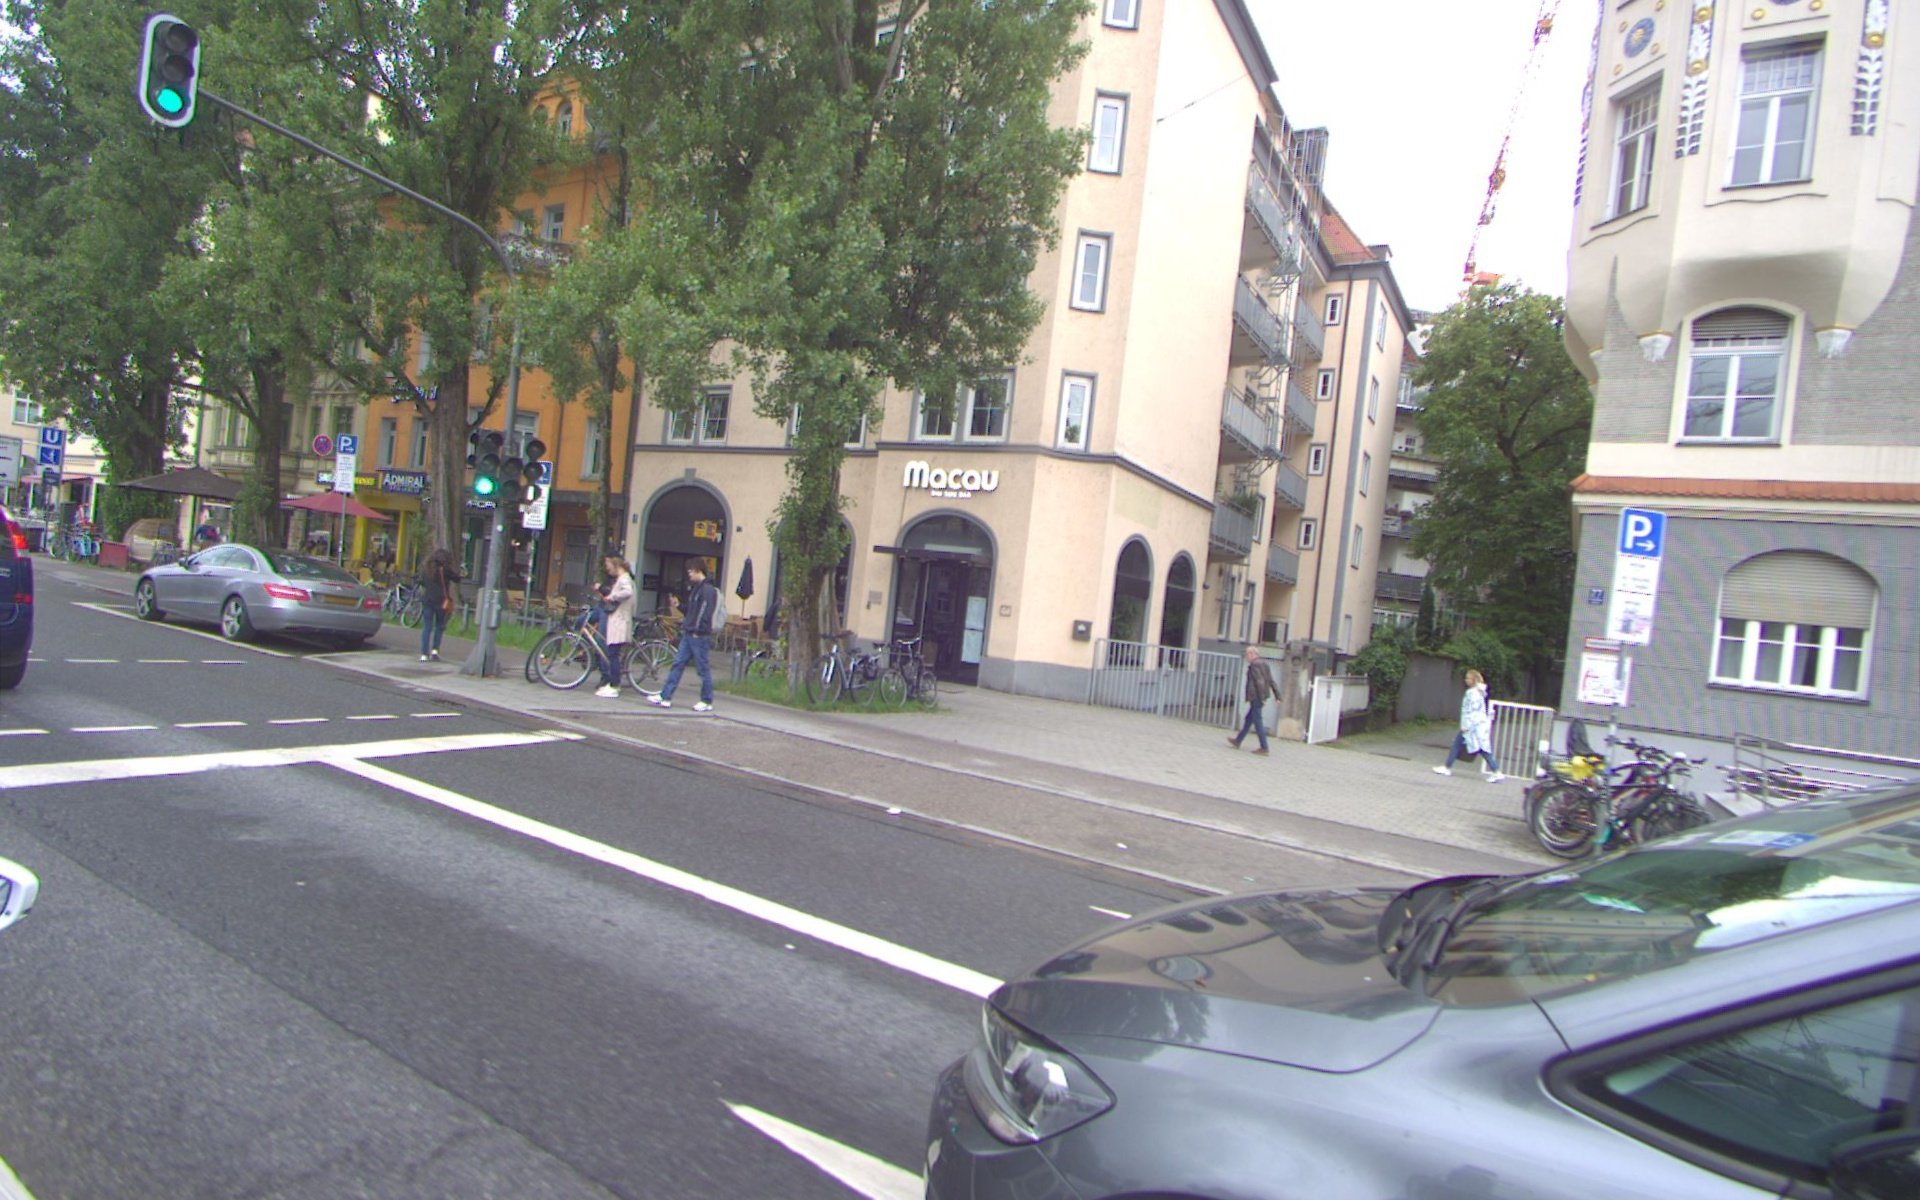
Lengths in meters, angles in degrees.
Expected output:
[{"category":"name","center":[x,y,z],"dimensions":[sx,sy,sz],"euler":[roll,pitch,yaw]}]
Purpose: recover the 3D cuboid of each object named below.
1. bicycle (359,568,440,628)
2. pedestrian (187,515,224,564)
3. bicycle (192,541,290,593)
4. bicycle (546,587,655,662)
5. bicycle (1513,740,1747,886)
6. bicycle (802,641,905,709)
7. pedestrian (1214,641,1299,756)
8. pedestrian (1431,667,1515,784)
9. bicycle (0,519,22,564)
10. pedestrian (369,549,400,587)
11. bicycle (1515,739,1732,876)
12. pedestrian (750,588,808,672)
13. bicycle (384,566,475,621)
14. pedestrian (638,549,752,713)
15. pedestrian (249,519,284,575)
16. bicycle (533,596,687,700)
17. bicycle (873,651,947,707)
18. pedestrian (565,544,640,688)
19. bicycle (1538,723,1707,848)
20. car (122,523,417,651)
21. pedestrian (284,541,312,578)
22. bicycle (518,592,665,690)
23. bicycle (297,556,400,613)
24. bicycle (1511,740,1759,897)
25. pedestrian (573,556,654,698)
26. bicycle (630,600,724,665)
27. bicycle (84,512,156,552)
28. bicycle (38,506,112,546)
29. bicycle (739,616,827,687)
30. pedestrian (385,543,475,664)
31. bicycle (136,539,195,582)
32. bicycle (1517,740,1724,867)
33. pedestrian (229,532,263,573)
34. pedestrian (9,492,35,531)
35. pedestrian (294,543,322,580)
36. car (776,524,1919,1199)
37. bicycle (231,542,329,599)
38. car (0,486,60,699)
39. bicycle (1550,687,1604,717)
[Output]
[{"category":"bicycle","center":[-10.945,-0.043,19.635],"dimensions":[1.626,0.977,0.589],"euler":[6,0,32]},{"category":"pedestrian","center":[-27.487,-2.207,36.647],"dimensions":[0.773,1.653,0.711],"euler":[7,1,32]},{"category":"bicycle","center":[-17.895,-0.812,25.094],"dimensions":[0.451,1.067,1.889],"euler":[7,0,33]},{"category":"bicycle","center":[-6.373,0.458,17.933],"dimensions":[0.440,1.122,1.801],"euler":[7,-2,33]},{"category":"bicycle","center":[6.549,2.049,9.945],"dimensions":[0.441,1.035,1.824],"euler":[7,-1,-31]},{"category":"bicycle","center":[-1.553,1.147,15.040],"dimensions":[0.386,0.927,1.836],"euler":[6,-2,33]},{"category":"pedestrian","center":[4.863,1.595,16.489],"dimensions":[1.000,1.706,0.746],"euler":[7,1,32]},{"category":"pedestrian","center":[8.379,2.024,16.427],"dimensions":[1.000,1.735,0.746],"euler":[7,1,32]},{"category":"bicycle","center":[-23.182,-1.481,23.554],"dimensions":[1.811,1.008,0.375],"euler":[8,1,-8]},{"category":"pedestrian","center":[-20.063,-1.104,35.067],"dimensions":[0.573,1.233,0.623],"euler":[7,1,31]},{"category":"bicycle","center":[6.861,2.116,10.513],"dimensions":[0.388,1.035,1.824],"euler":[7,-1,-31]},{"category":"pedestrian","center":[-3.785,0.627,21.021],"dimensions":[0.839,1.622,0.817],"euler":[6,1,-27]},{"category":"bicycle","center":[-12.486,-0.125,23.741],"dimensions":[0.450,1.127,1.891],"euler":[7,0,29]},{"category":"pedestrian","center":[-3.179,0.381,12.130],"dimensions":[0.742,1.823,0.882],"euler":[8,1,22]},{"category":"pedestrian","center":[-23.175,-1.770,33.620],"dimensions":[0.655,1.761,0.601],"euler":[7,1,32]},{"category":"bicycle","center":[-4.398,0.610,12.719],"dimensions":[1.717,1.116,0.358],"euler":[6,1,-13]},{"category":"bicycle","center":[-0.802,1.314,16.625],"dimensions":[0.385,0.845,1.575],"euler":[6,-2,29]},{"category":"pedestrian","center":[-4.762,0.198,13.372],"dimensions":[0.692,1.802,0.647],"euler":[7,1,-25]},{"category":"bicycle","center":[8.032,2.213,12.307],"dimensions":[0.457,1.168,1.884],"euler":[6,-1,-10]},{"category":"car","center":[-10.846,-0.218,15.746],"dimensions":[4.452,1.458,1.997],"euler":[6,0,30]},{"category":"pedestrian","center":[-25.086,-1.529,38.112],"dimensions":[0.573,1.296,0.584],"euler":[7,1,31]},{"category":"bicycle","center":[-4.873,0.556,13.355],"dimensions":[1.722,1.116,0.357],"euler":[6,1,-24]},{"category":"bicycle","center":[-13.406,-0.318,22.119],"dimensions":[0.450,1.067,1.891],"euler":[7,0,29]},{"category":"bicycle","center":[6.228,1.982,9.404],"dimensions":[0.441,1.035,1.824],"euler":[7,-1,-31]},{"category":"pedestrian","center":[-4.361,0.332,12.710],"dimensions":[0.690,1.658,0.754],"euler":[7,1,-12]},{"category":"bicycle","center":[-5.453,0.649,19.493],"dimensions":[0.440,1.123,1.799],"euler":[7,-1,33]},{"category":"bicycle","center":[-27.809,-2.231,33.319],"dimensions":[0.382,1.058,1.720],"euler":[8,0,42]},{"category":"bicycle","center":[-28.990,-2.409,32.979],"dimensions":[0.380,1.058,1.727],"euler":[8,0,25]},{"category":"bicycle","center":[-2.908,0.871,16.677],"dimensions":[0.386,1.062,1.574],"euler":[6,-1,32]},{"category":"pedestrian","center":[-7.502,0.048,14.274],"dimensions":[0.749,1.582,0.762],"euler":[7,1,-6]},{"category":"bicycle","center":[-20.036,-1.010,25.361],"dimensions":[1.862,0.903,0.457],"euler":[6,0,31]},{"category":"bicycle","center":[7.165,2.178,11.017],"dimensions":[0.388,0.990,1.824],"euler":[7,-1,-31]},{"category":"pedestrian","center":[-23.489,-1.567,33.103],"dimensions":[0.655,1.237,0.601],"euler":[7,1,32]},{"category":"pedestrian","center":[-42.736,-4.028,45.821],"dimensions":[0.666,1.653,0.615],"euler":[7,1,32]},{"category":"pedestrian","center":[-24.398,-1.452,37.662],"dimensions":[0.573,1.296,0.584],"euler":[7,1,31]},{"category":"car","center":[2.116,0.983,1.276],"dimensions":[4.631,1.667,1.773],"euler":[6,-1,33]},{"category":"bicycle","center":[-16.916,-0.723,25.071],"dimensions":[0.573,1.188,1.889],"euler":[7,0,33]},{"category":"car","center":[-9.027,-0.274,8.049],"dimensions":[3.497,1.608,1.706],"euler":[6,-1,32]},{"category":"bicycle","center":[29.630,4.881,48.378],"dimensions":[2.092,1.138,0.815],"euler":[7,1,32]}]
